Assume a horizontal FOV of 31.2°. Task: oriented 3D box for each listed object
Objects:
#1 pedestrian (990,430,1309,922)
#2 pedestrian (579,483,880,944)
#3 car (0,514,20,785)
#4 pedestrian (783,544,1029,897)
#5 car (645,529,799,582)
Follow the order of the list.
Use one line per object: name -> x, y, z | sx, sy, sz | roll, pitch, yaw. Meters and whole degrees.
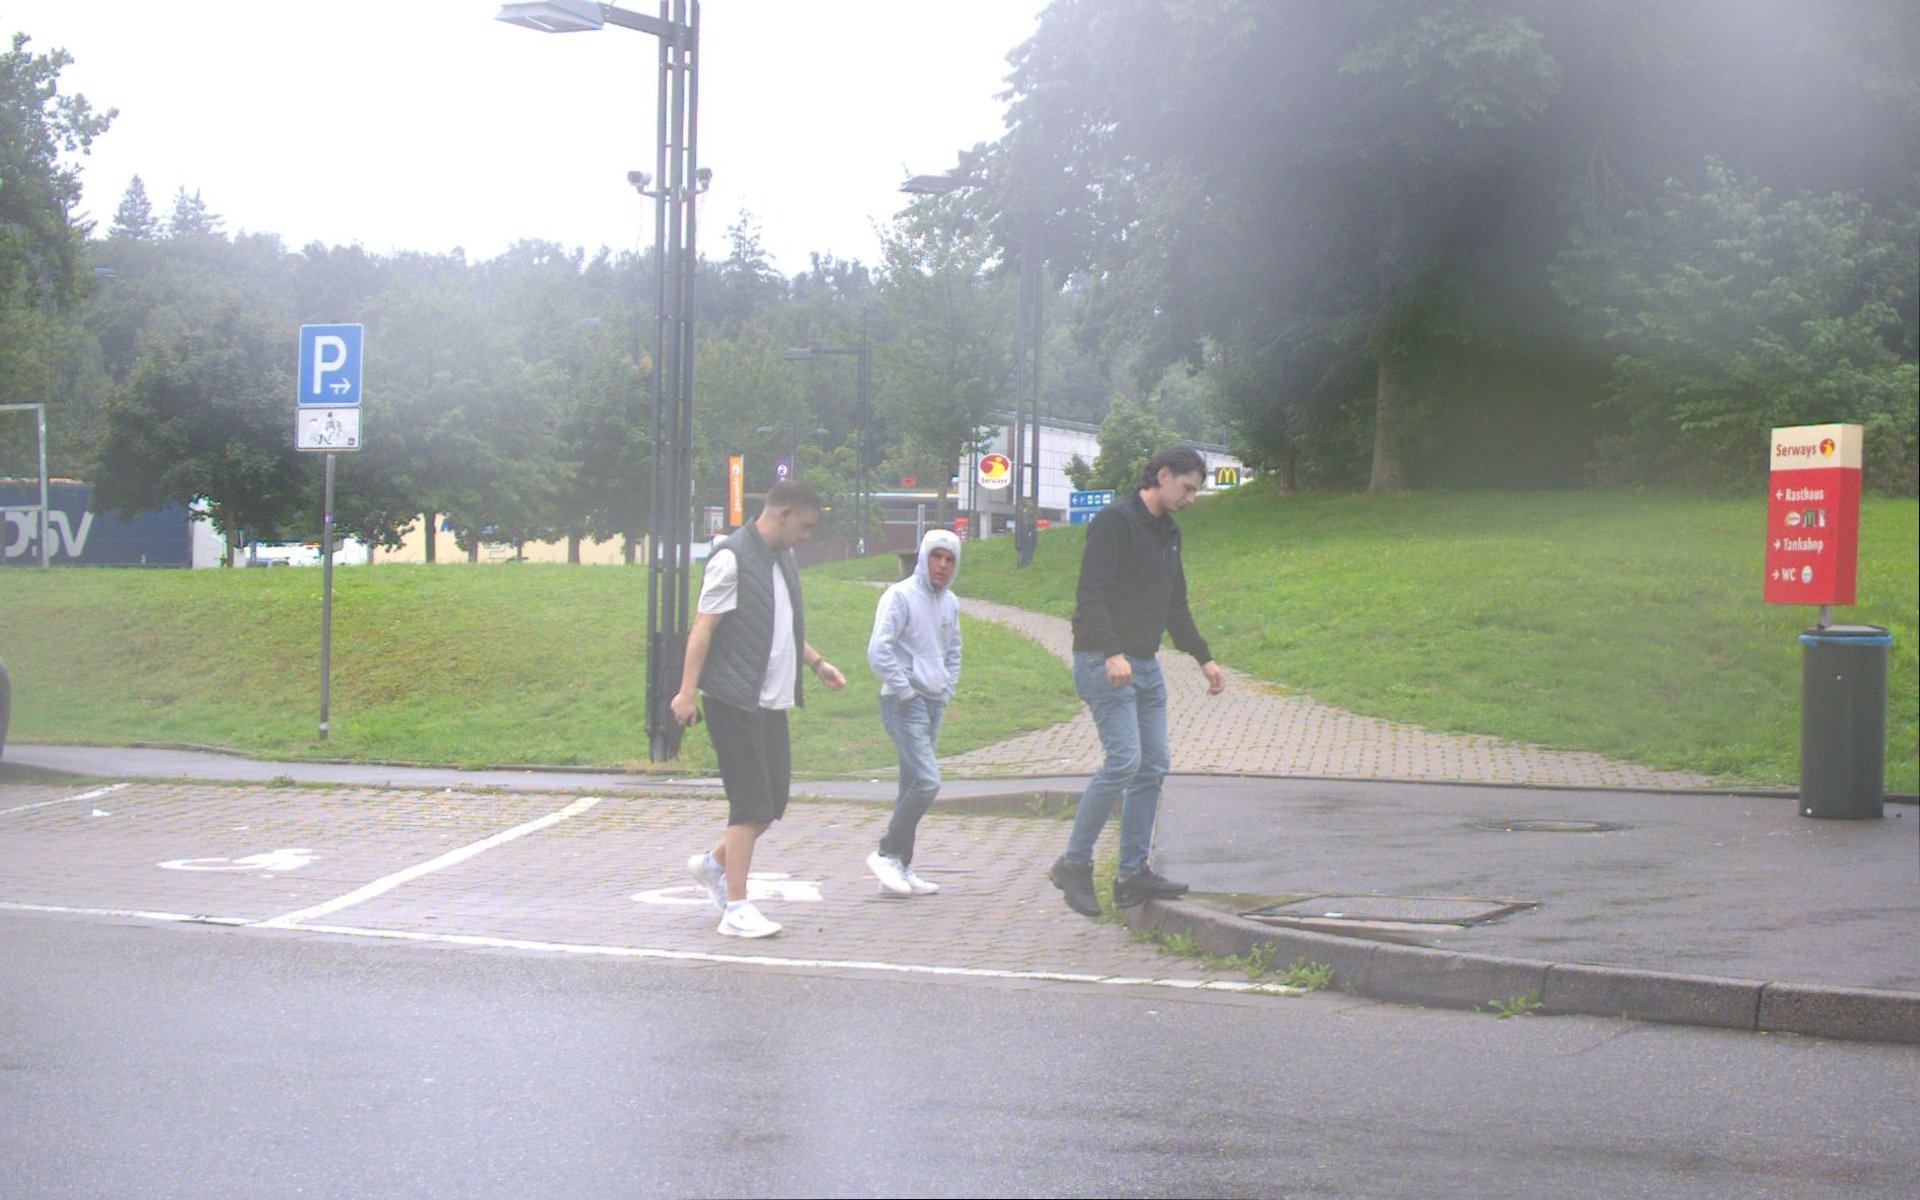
pedestrian -> 0.753, 0.277, 13.551 | 1.000, 1.858, 0.798 | 0, 1, 28
pedestrian -> -0.952, 0.443, 14.290 | 0.974, 1.842, 0.772 | 0, 1, 28
car -> -7.766, 0.373, 21.452 | 1.885, 1.821, 4.411 | 0, 1, 11
pedestrian -> -0.242, 0.524, 15.579 | 0.890, 1.544, 0.659 | 0, 1, 29
car -> -9.255, -1.733, 133.779 | 5.429, 2.007, 2.453 | 1, 1, 20
